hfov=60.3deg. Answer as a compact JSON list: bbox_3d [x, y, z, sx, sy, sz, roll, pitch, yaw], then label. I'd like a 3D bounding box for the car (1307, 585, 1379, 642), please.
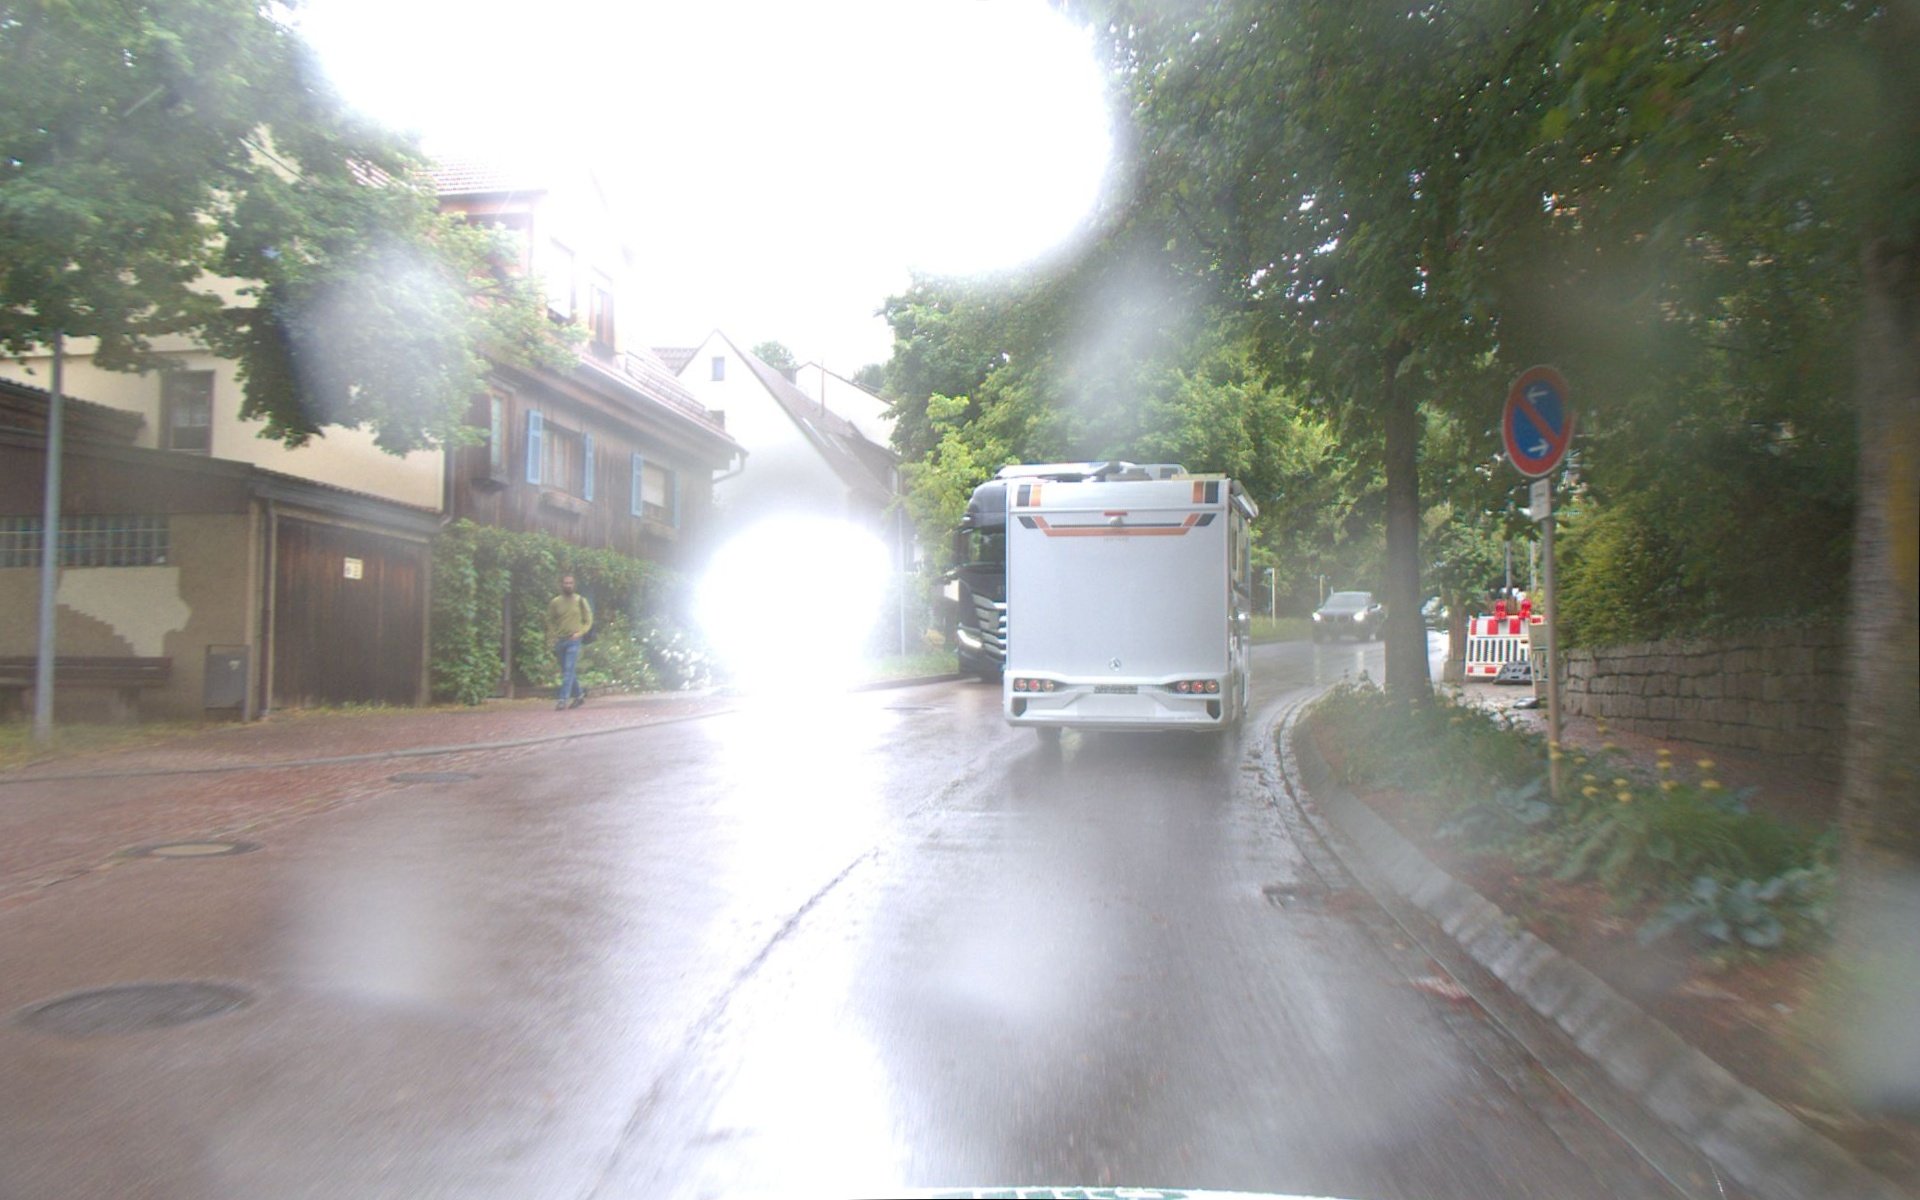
[{"bbox_3d":[13.185,0.485,56.772,1.798,1.883,3.999,0,-1,23],"label":"car"}]

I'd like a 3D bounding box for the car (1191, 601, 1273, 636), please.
[{"bbox_3d":[14.078,0.971,85.826,3.907,1.793,1.999,0,-1,-2],"label":"car"}]

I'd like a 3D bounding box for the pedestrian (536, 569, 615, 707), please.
[{"bbox_3d":[-5.408,0.533,23.285,0.776,1.901,0.917,0,-1,10],"label":"pedestrian"}]

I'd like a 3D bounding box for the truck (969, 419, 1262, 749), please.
[{"bbox_3d":[1.993,-0.179,18.544,2.637,3.038,6.242,0,1,11],"label":"truck"}]

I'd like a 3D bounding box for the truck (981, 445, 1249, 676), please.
[{"bbox_3d":[3.645,-0.726,35.501,2.781,4.239,9.973,0,0,23],"label":"truck"}]
